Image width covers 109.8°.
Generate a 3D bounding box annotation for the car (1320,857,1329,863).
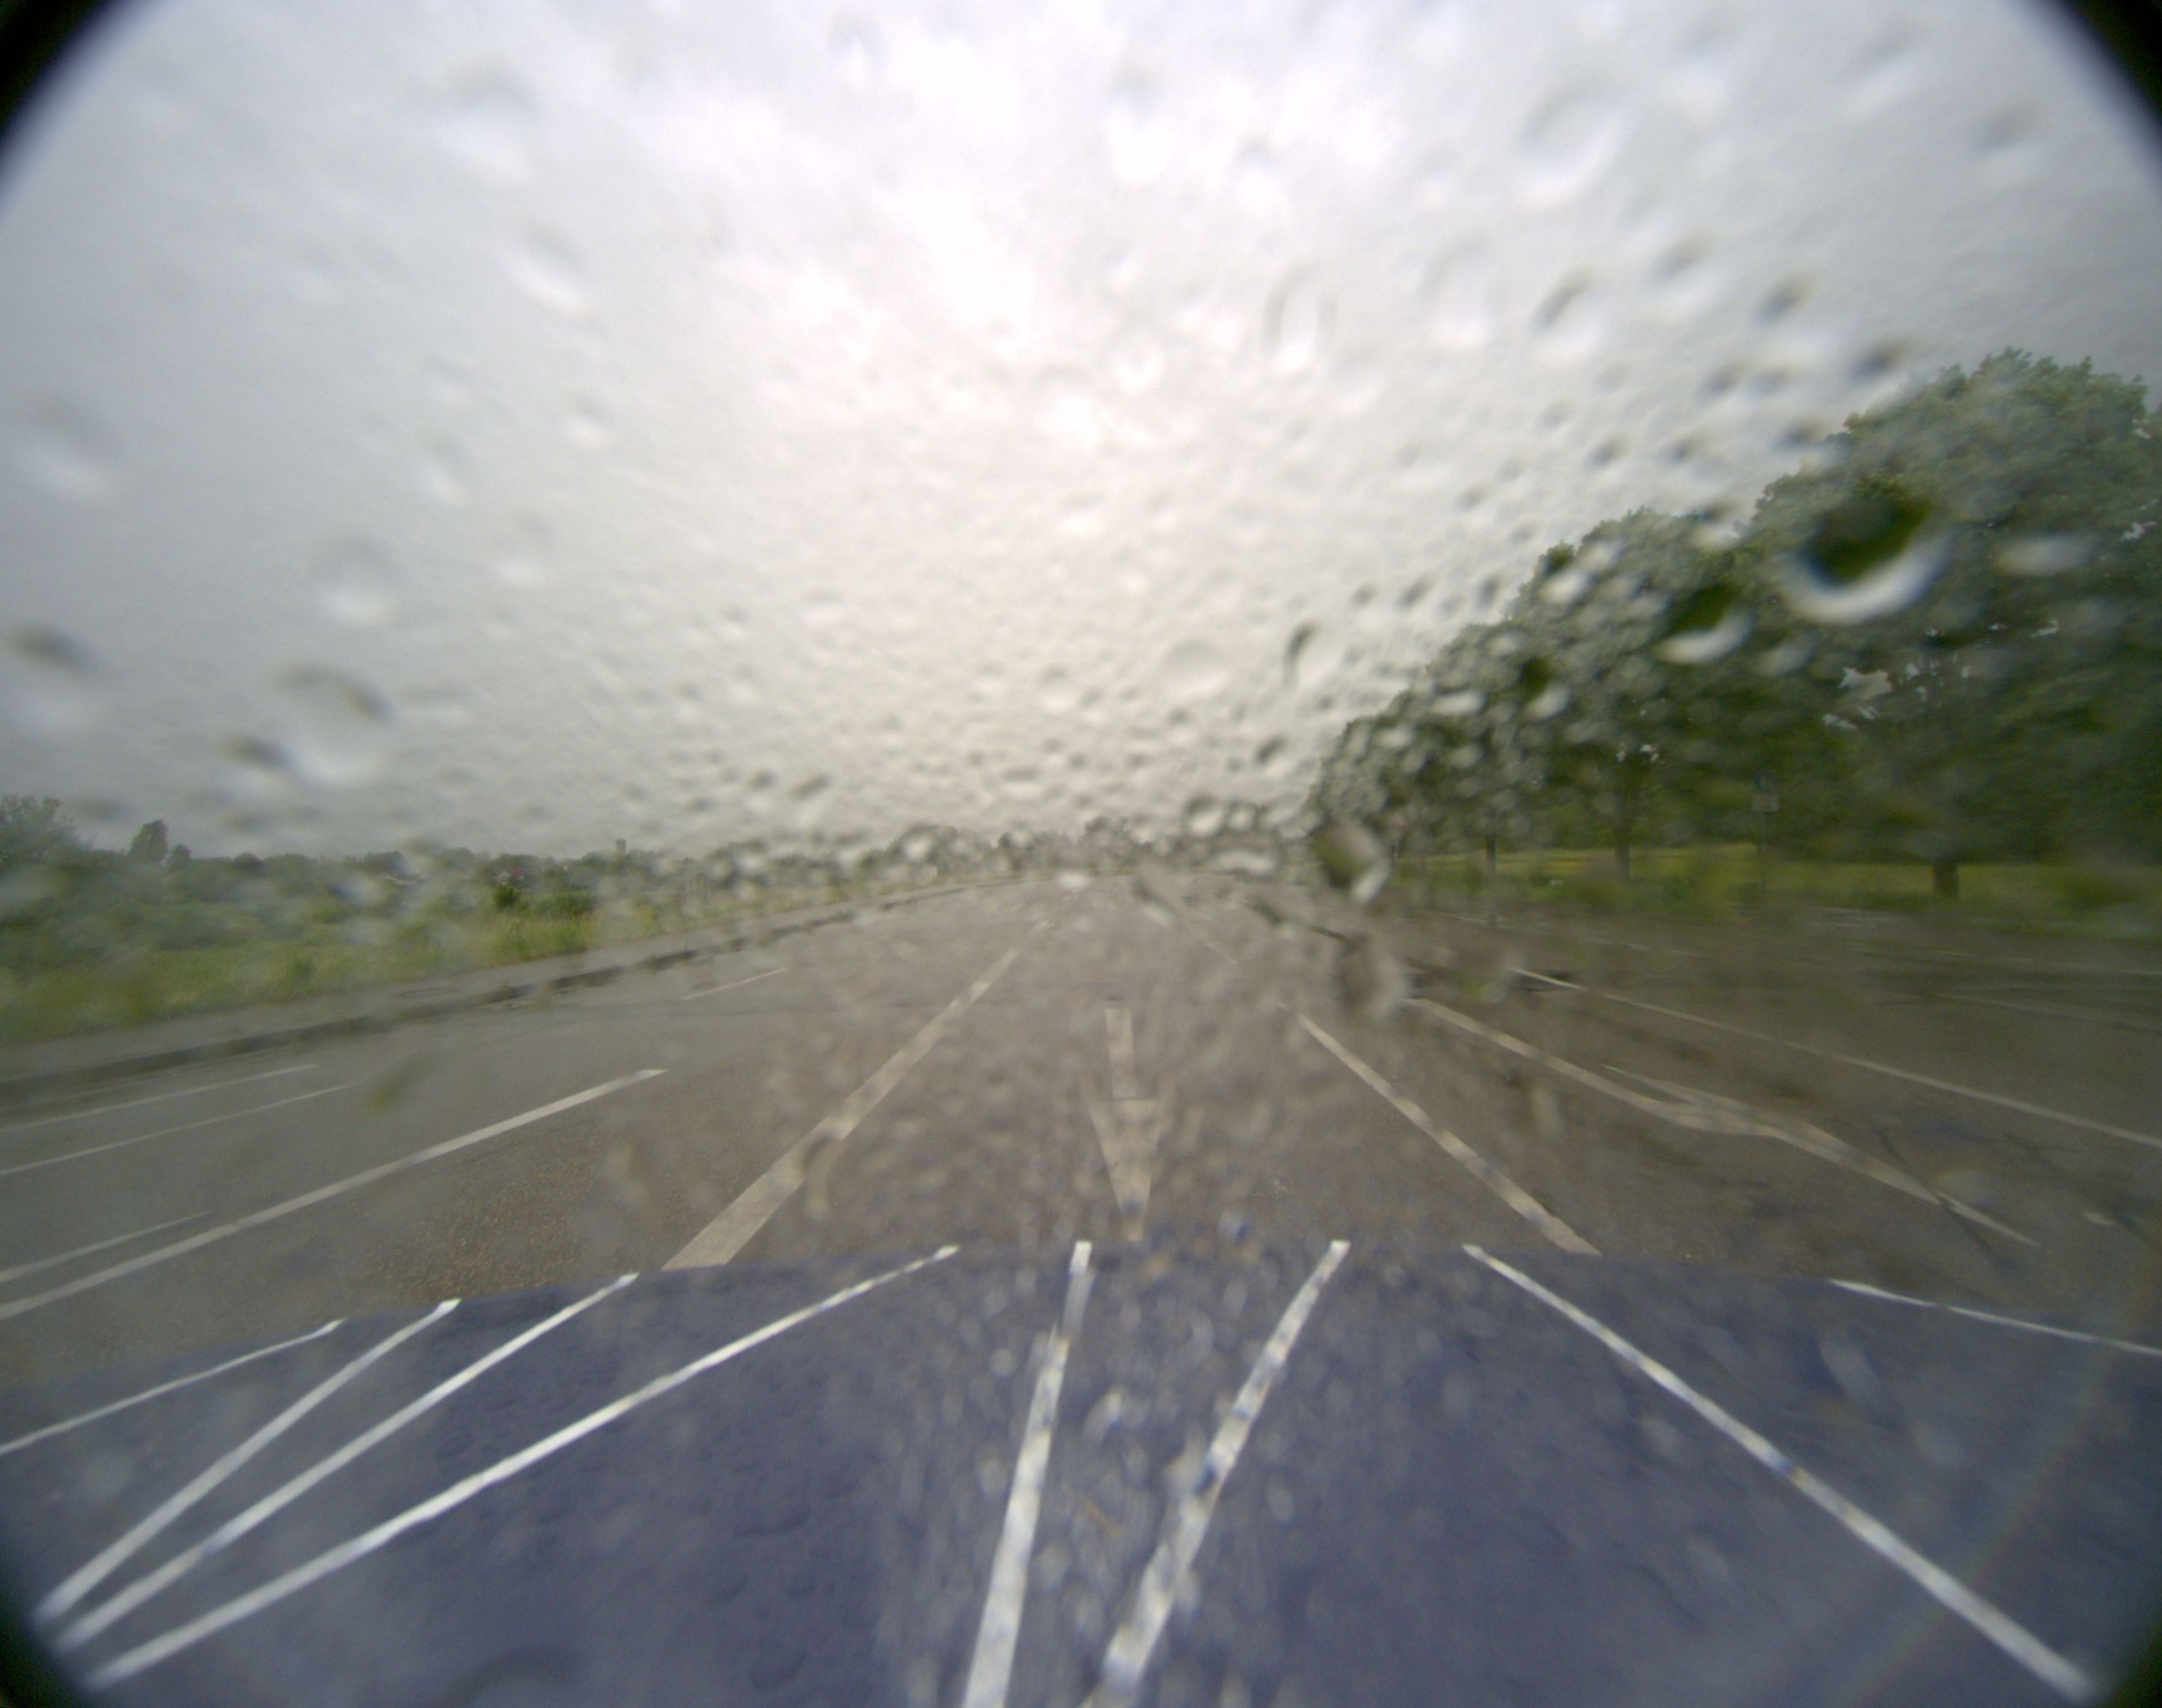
[{"bbox_3d":[57.164,1.395,178.337,1.880,1.564,4.652,0,0,21],"label":"car"}]
